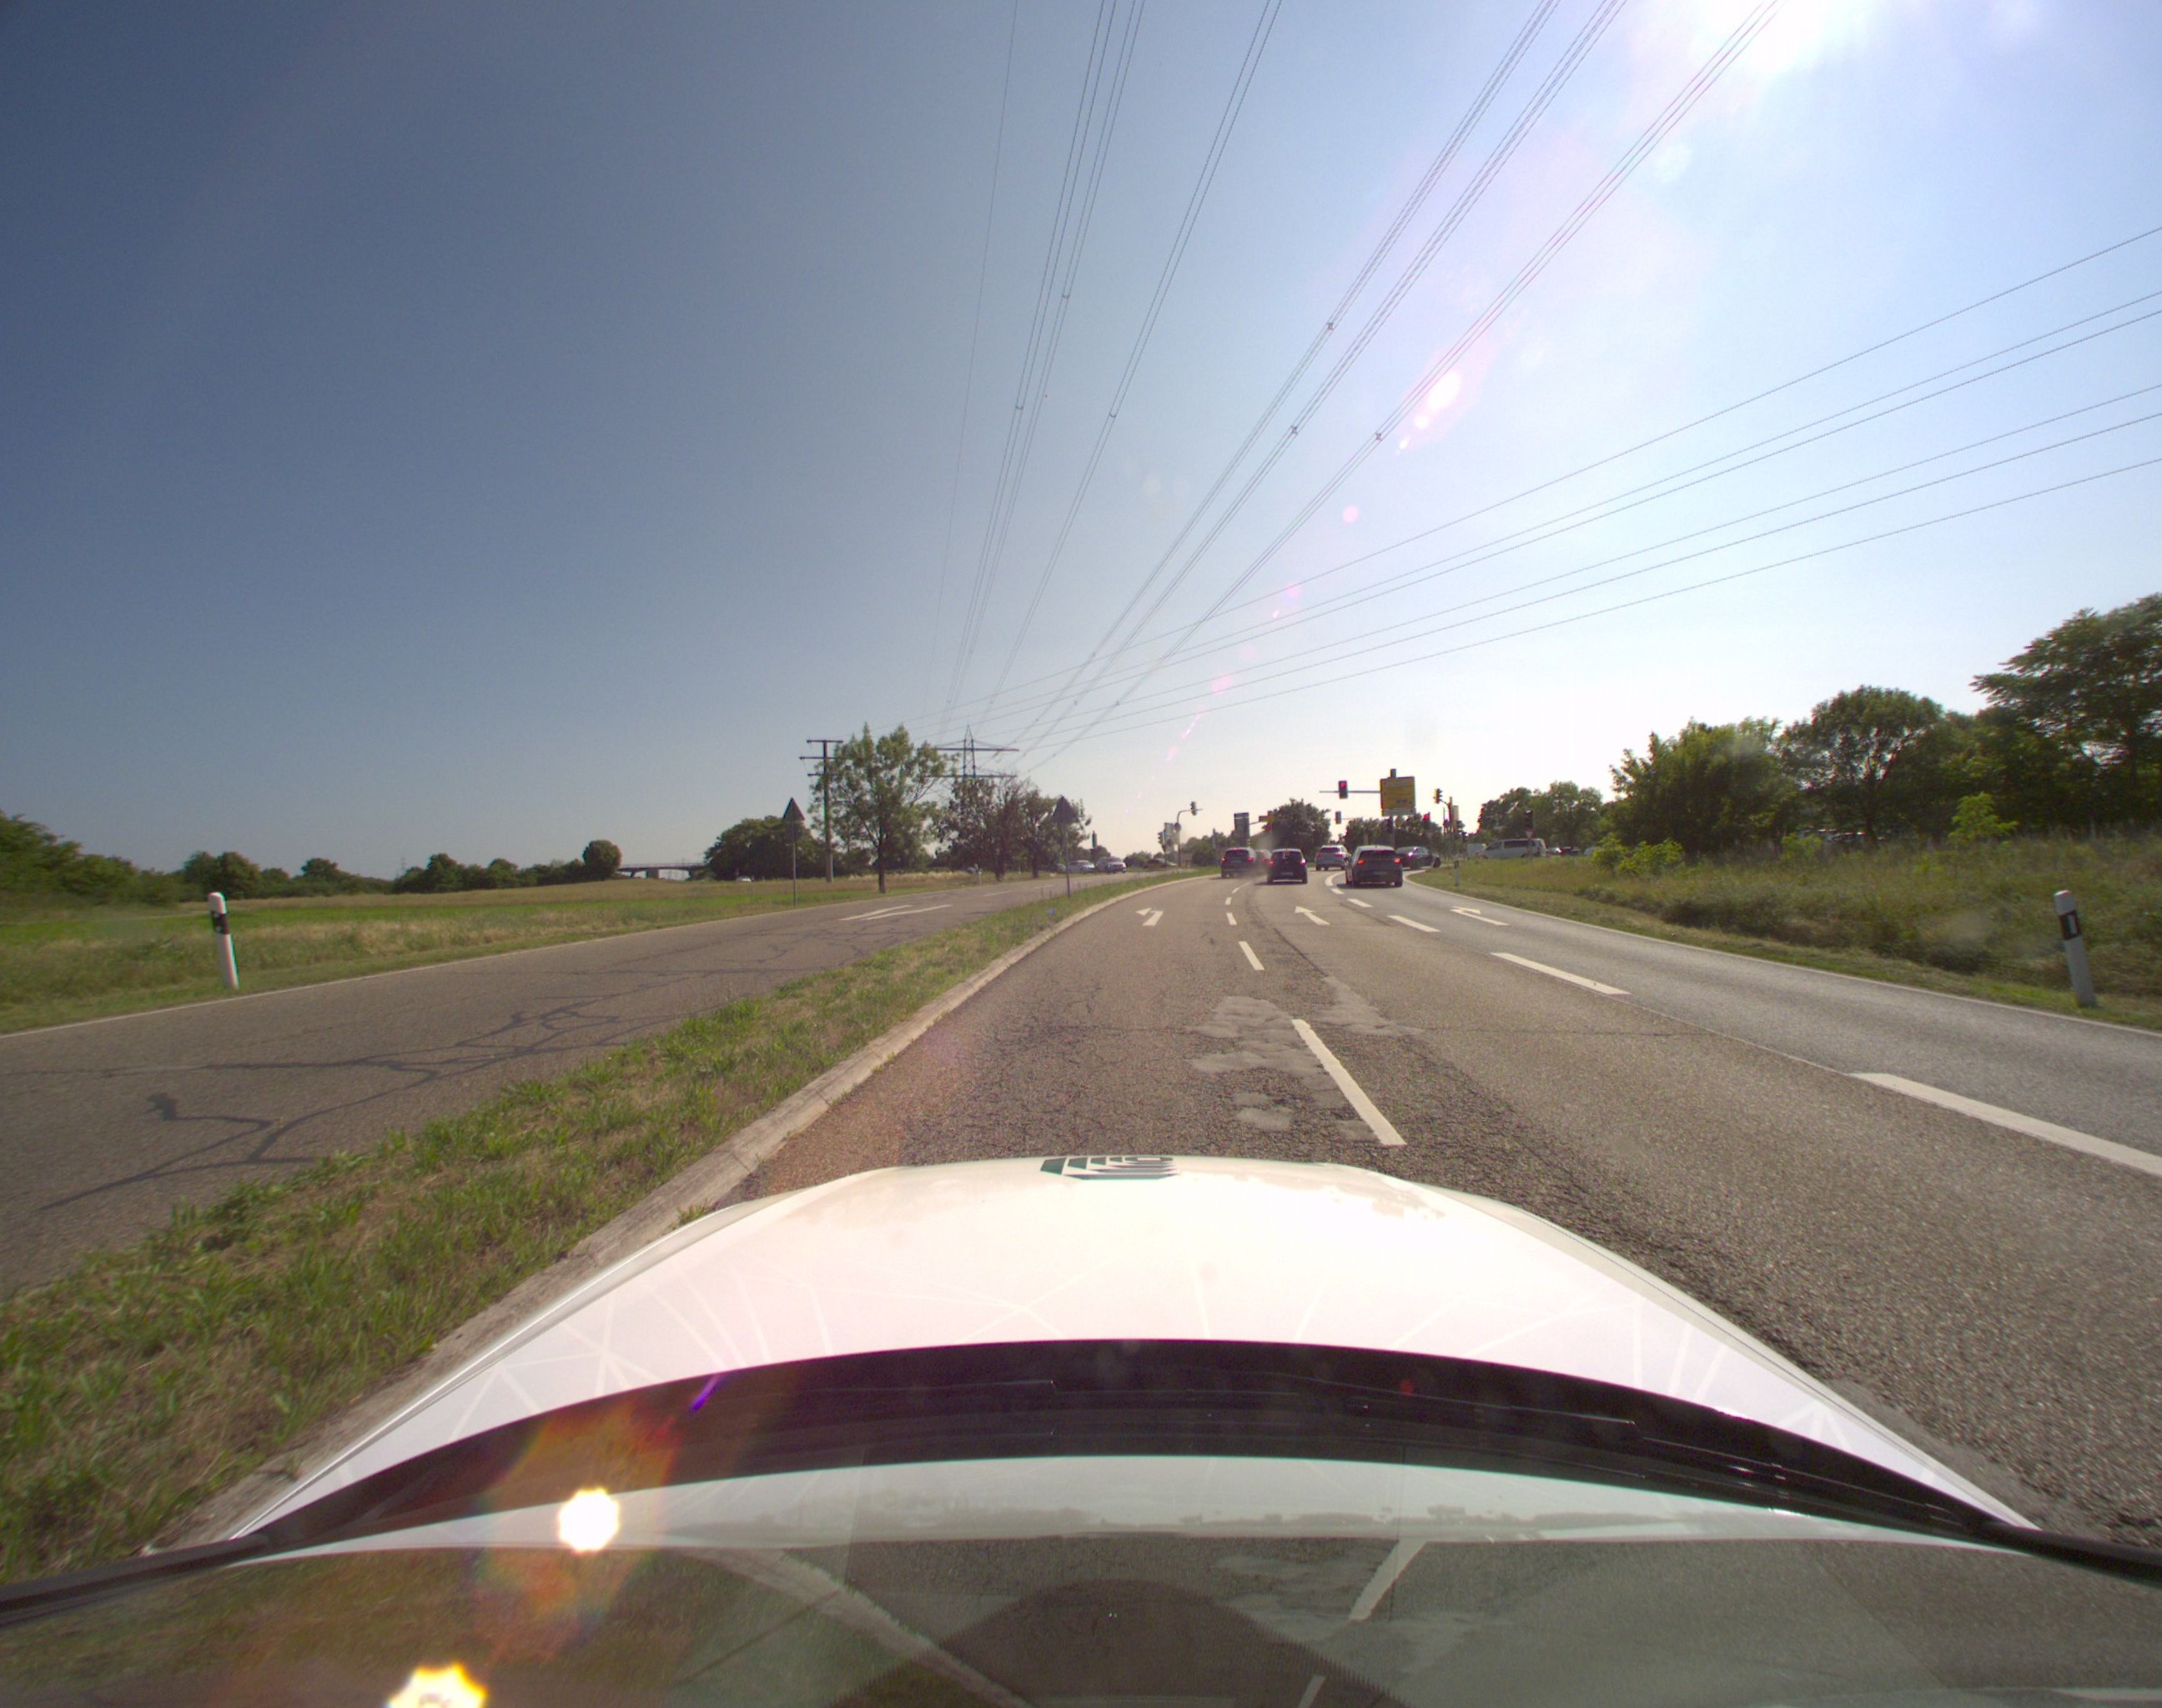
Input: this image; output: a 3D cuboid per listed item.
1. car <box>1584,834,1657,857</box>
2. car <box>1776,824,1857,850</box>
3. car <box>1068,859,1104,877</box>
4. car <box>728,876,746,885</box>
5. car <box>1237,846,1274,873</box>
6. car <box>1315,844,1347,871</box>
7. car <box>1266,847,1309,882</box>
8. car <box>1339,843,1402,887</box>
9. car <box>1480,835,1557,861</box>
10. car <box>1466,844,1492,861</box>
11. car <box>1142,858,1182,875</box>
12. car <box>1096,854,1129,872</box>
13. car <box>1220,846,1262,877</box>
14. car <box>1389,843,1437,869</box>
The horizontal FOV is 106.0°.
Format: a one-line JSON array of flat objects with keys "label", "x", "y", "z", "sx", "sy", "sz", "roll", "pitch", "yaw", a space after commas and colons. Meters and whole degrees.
[{"label": "car", "x": 40.454, "y": -0.635, "z": 61.097, "sx": 4.281, "sy": 1.519, "sz": 1.818, "roll": -3, "pitch": -1, "yaw": 44}, {"label": "car", "x": 48.156, "y": -1.112, "z": 53.363, "sx": 1.818, "sy": 1.519, "sz": 3.832, "roll": -1, "pitch": -1, "yaw": -45}, {"label": "car", "x": 0.442, "y": 1.446, "z": 82.835, "sx": 1.826, "sy": 1.651, "sz": 3.960, "roll": -1, "pitch": -1, "yaw": -31}, {"label": "car", "x": -70.942, "y": 5.457, "z": 168.051, "sx": 1.830, "sy": 1.651, "sz": 4.703, "roll": 0, "pitch": -2, "yaw": -43}, {"label": "car", "x": 10.564, "y": 0.340, "z": 49.083, "sx": 1.727, "sy": 1.569, "sz": 3.642, "roll": -1, "pitch": 0, "yaw": 19}, {"label": "car", "x": 16.548, "y": 0.232, "z": 53.887, "sx": 1.618, "sy": 1.677, "sz": 3.770, "roll": -1, "pitch": 0, "yaw": 23}, {"label": "car", "x": 8.965, "y": 0.441, "z": 35.265, "sx": 1.620, "sy": 1.448, "sz": 3.309, "roll": -1, "pitch": 0, "yaw": 17}, {"label": "car", "x": 11.116, "y": 0.380, "z": 31.505, "sx": 1.761, "sy": 1.517, "sz": 4.114, "roll": -3, "pitch": 0, "yaw": 13}, {"label": "car", "x": 33.954, "y": -0.432, "z": 63.241, "sx": 4.886, "sy": 1.918, "sz": 2.012, "roll": -1, "pitch": 0, "yaw": 44}, {"label": "car", "x": 49.530, "y": -0.199, "z": 101.248, "sx": 1.911, "sy": 2.137, "sz": 4.670, "roll": -1, "pitch": 0, "yaw": 38}, {"label": "car", "x": 8.544, "y": 1.310, "z": 86.435, "sx": 1.830, "sy": 1.651, "sz": 3.951, "roll": -1, "pitch": -1, "yaw": -43}, {"label": "car", "x": 2.942, "y": 0.869, "z": 76.636, "sx": 1.819, "sy": 1.651, "sz": 3.975, "roll": -2, "pitch": -1, "yaw": -18}, {"label": "car", "x": 8.632, "y": 0.389, "z": 43.801, "sx": 1.728, "sy": 1.569, "sz": 3.641, "roll": -2, "pitch": 0, "yaw": 18}, {"label": "car", "x": 20.480, "y": 0.106, "z": 50.123, "sx": 1.625, "sy": 1.385, "sz": 4.026, "roll": -3, "pitch": 0, "yaw": 38}]
